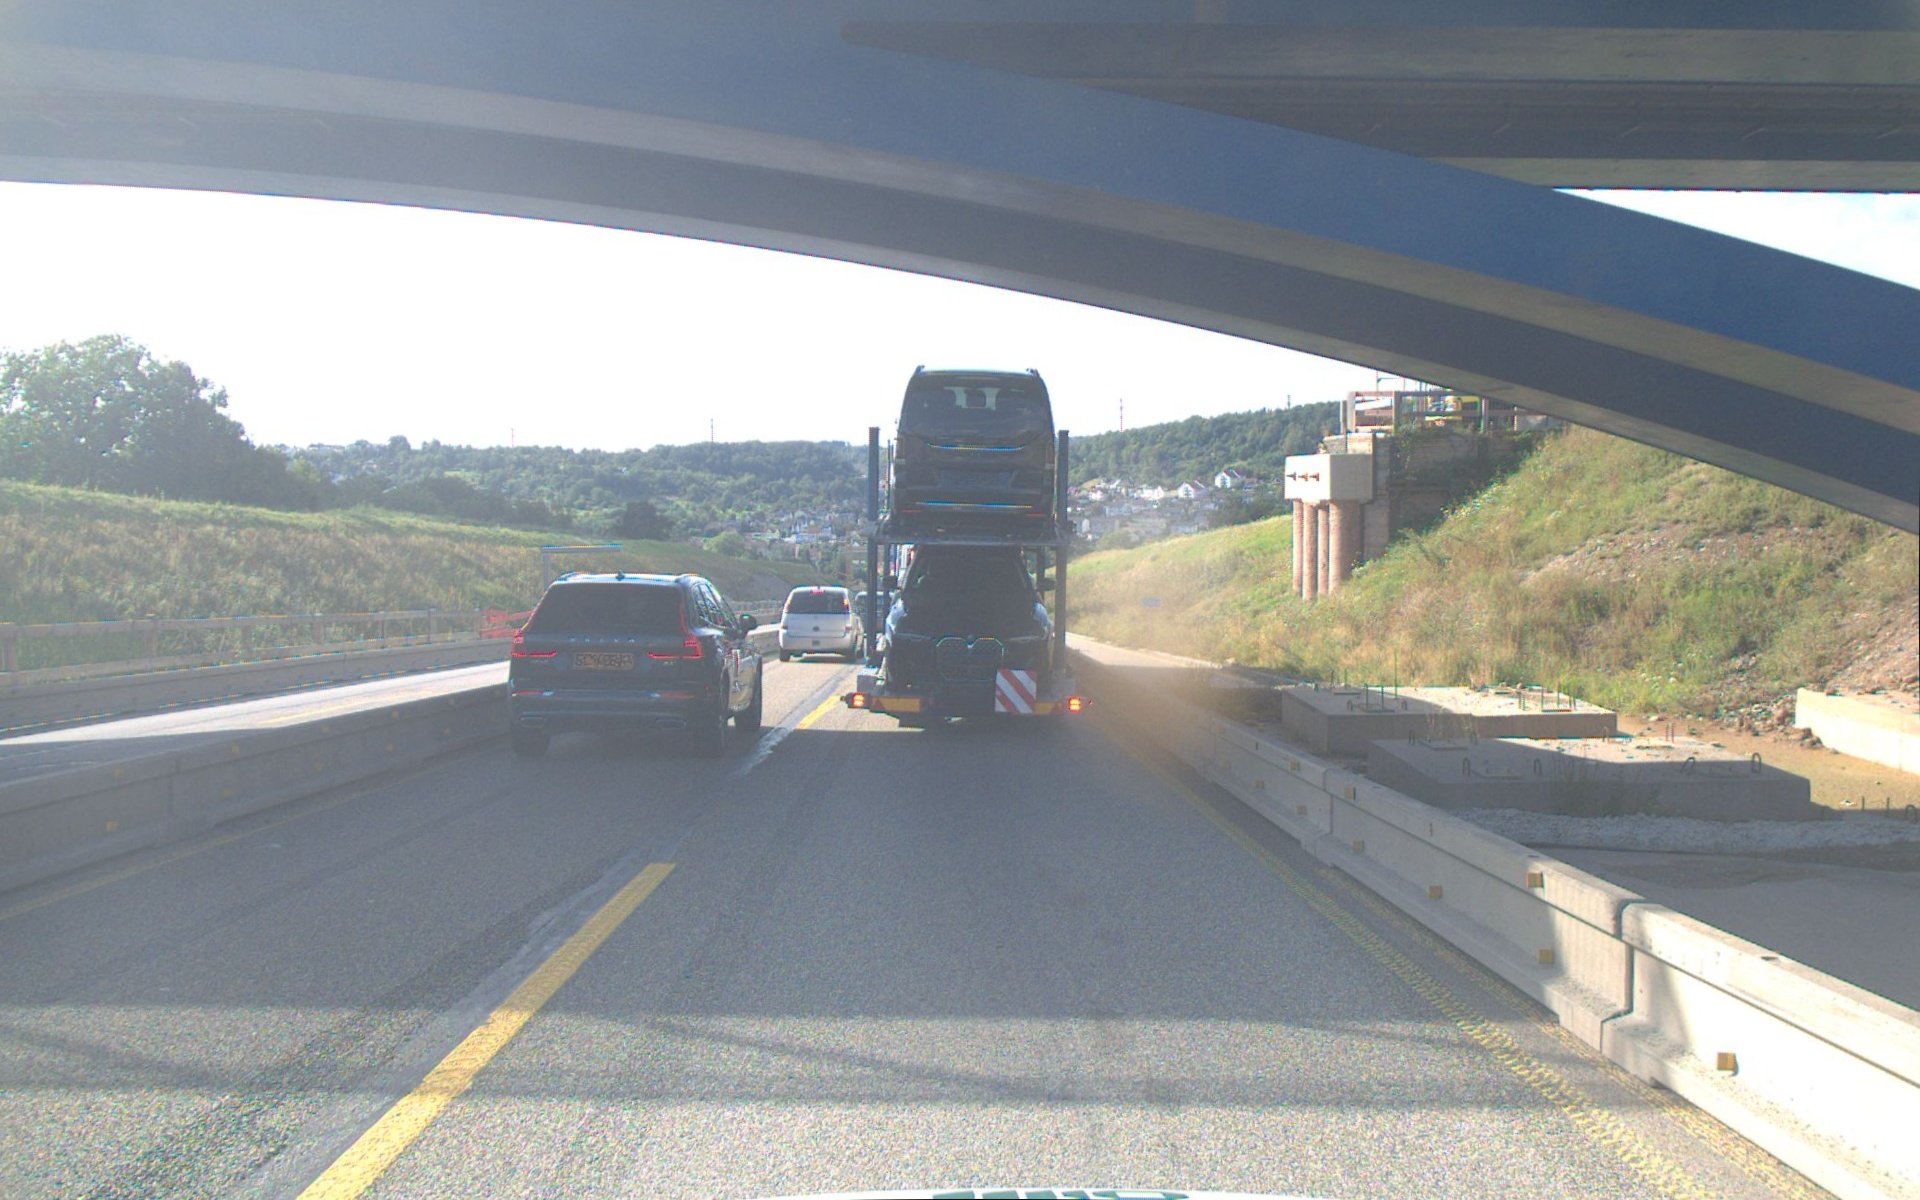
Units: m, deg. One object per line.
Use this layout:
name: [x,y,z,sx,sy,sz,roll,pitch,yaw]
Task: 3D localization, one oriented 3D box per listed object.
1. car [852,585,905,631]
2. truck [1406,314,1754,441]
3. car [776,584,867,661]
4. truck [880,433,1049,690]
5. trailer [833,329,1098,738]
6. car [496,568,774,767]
car: [-2.812,0.248,57.597,1.760,1.557,4.294,0,0,-2]
truck: [17.943,-6.430,48.249,9.075,3.284,2.959,0,0,-1]
car: [-3.069,0.464,37.498,1.760,1.624,4.742,0,0,-1]
truck: [0.103,-0.610,28.786,2.623,3.990,6.028,0,0,1]
trailer: [0.069,-0.689,22.309,2.652,4.099,11.419,0,0,0]
car: [-2.988,0.541,16.230,1.953,1.653,4.748,0,0,-2]
